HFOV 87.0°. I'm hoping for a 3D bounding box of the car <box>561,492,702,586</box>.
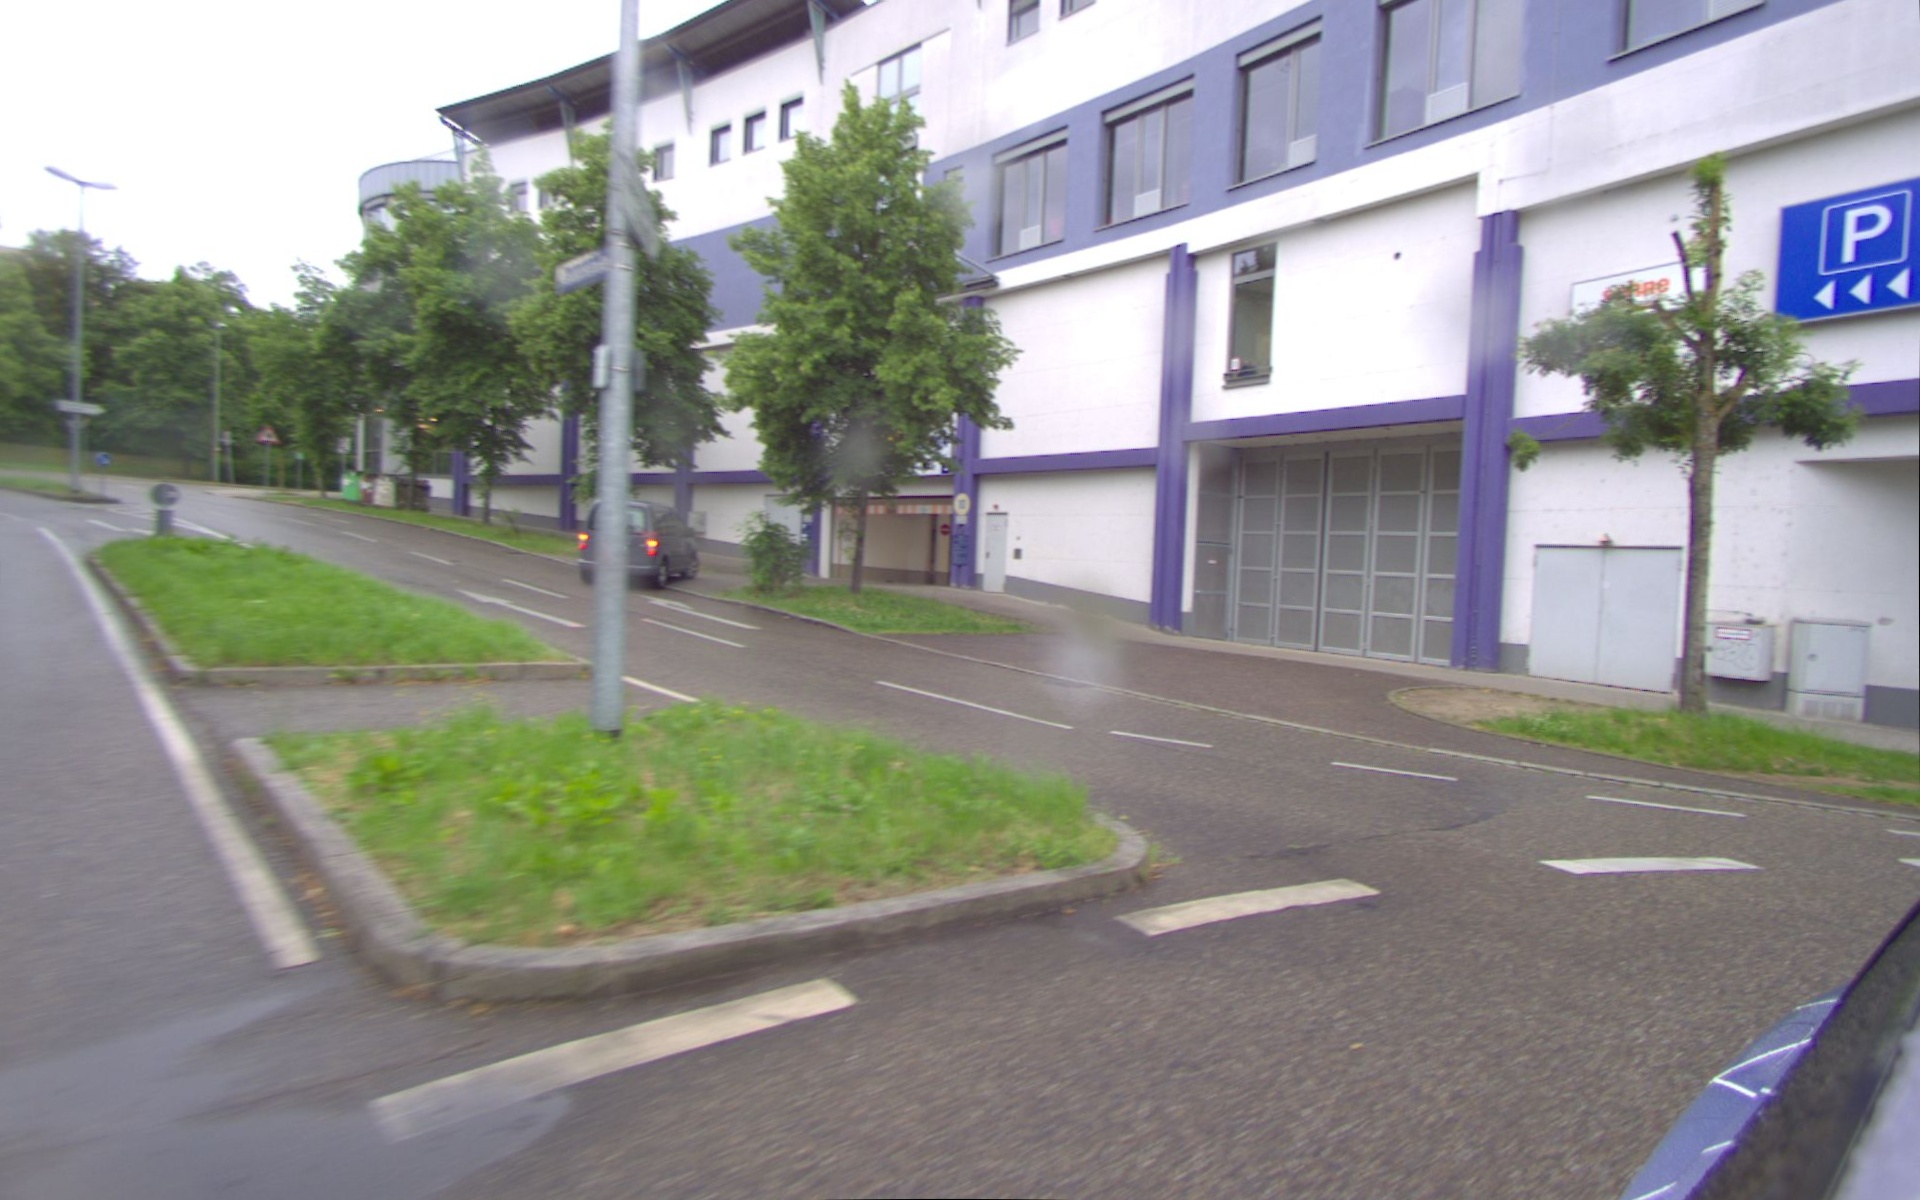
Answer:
[{"bbox_3d":[-7.188,-1.396,22.548,1.888,1.822,3.793,3,4,-1],"label":"car"}]
